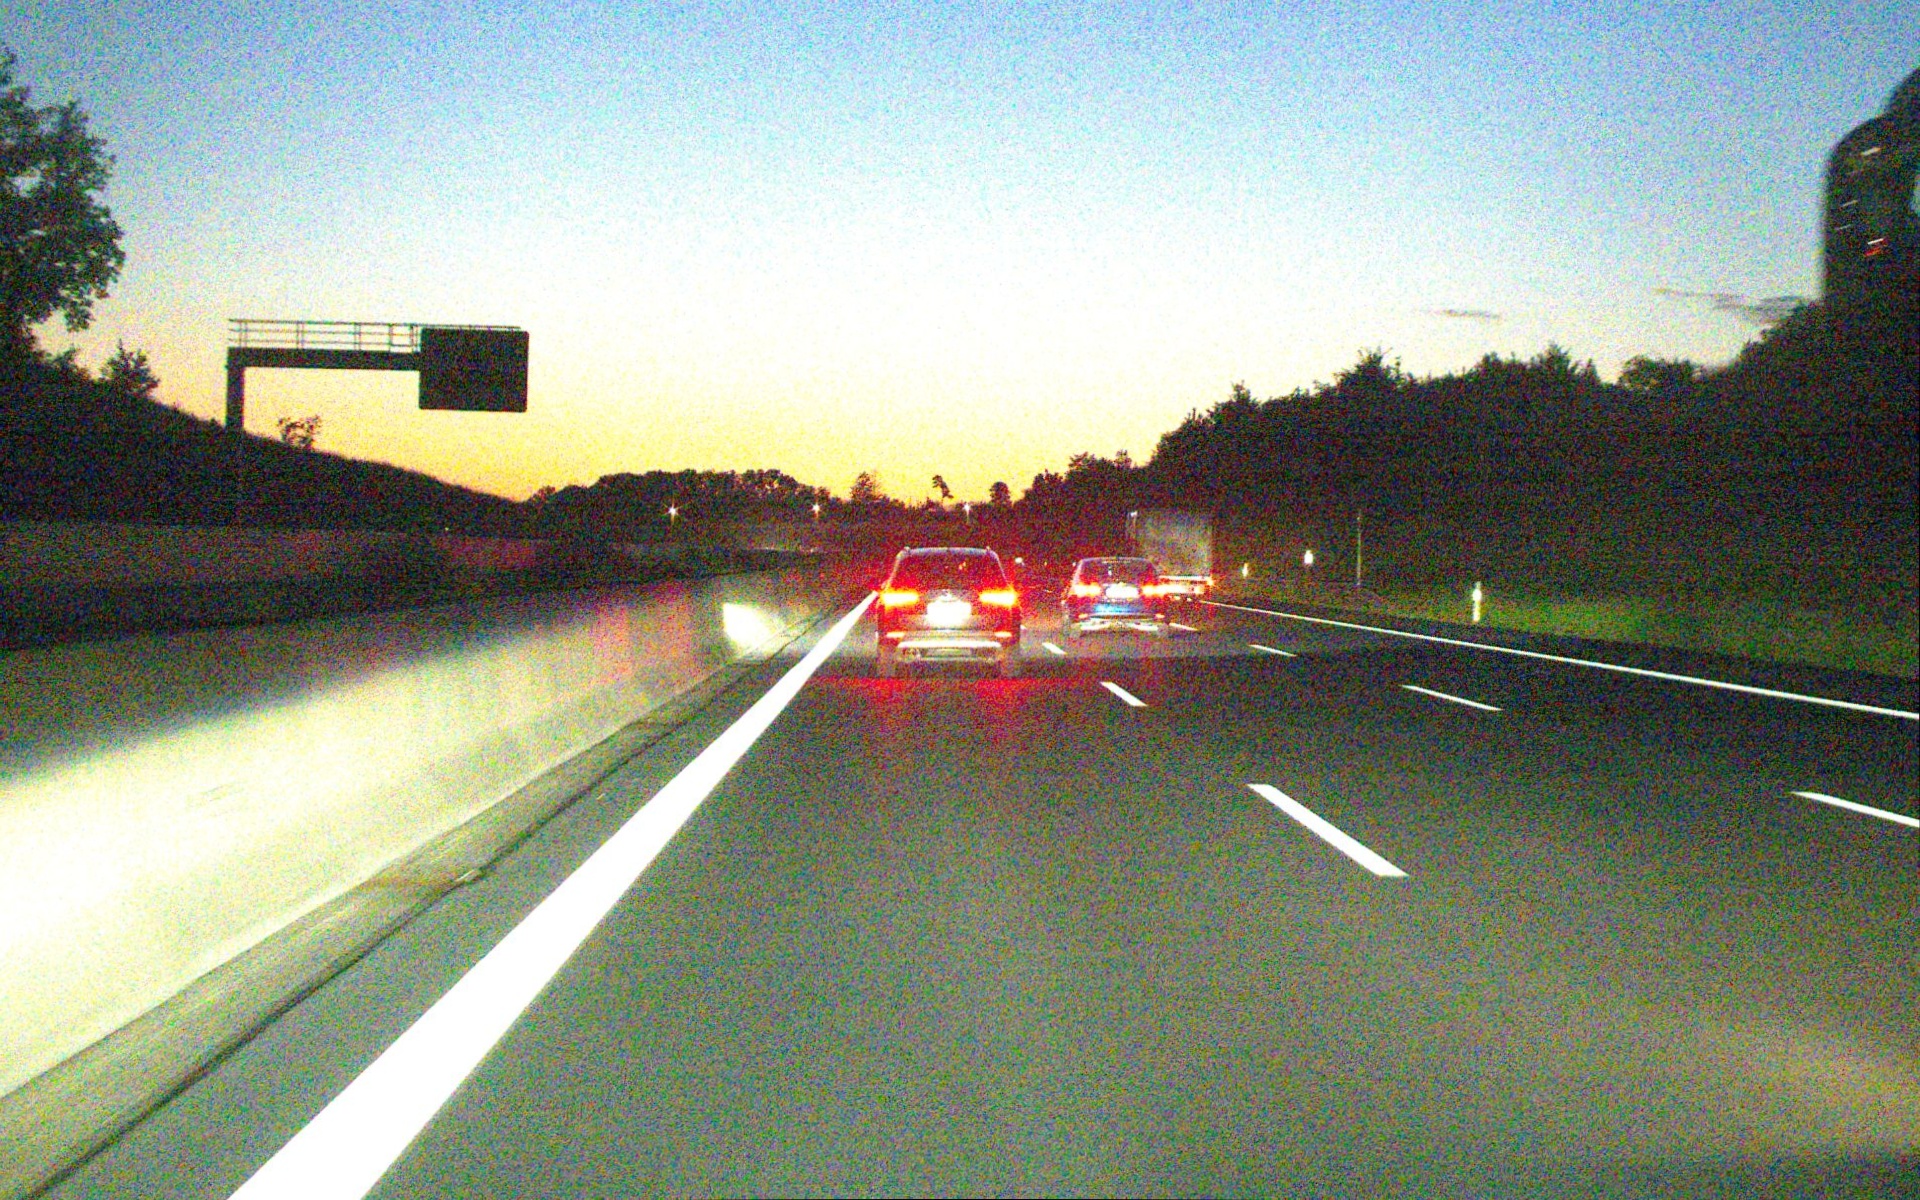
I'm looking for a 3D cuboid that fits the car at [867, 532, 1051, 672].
[{"bbox_3d":[-0.065,0.001,43.110,2.105,1.612,4.205,2,0,-2],"label":"car"}]

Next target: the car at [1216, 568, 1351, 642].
[{"bbox_3d":[5.875,0.069,62.933,1.911,1.270,4.000,1,0,-2],"label":"car"}]

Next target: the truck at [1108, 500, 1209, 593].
[{"bbox_3d":[6.354,-1.722,110.914,2.602,2.865,7.486,1,1,-2],"label":"truck"}]

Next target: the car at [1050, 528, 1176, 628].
[{"bbox_3d":[2.749,-0.411,62.612,1.911,1.724,4.000,1,0,-2],"label":"car"}]

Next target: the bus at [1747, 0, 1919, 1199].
[{"bbox_3d":[3.590,-0.532,1.731,2.652,3.980,14.703,2,1,-1],"label":"bus"}]
